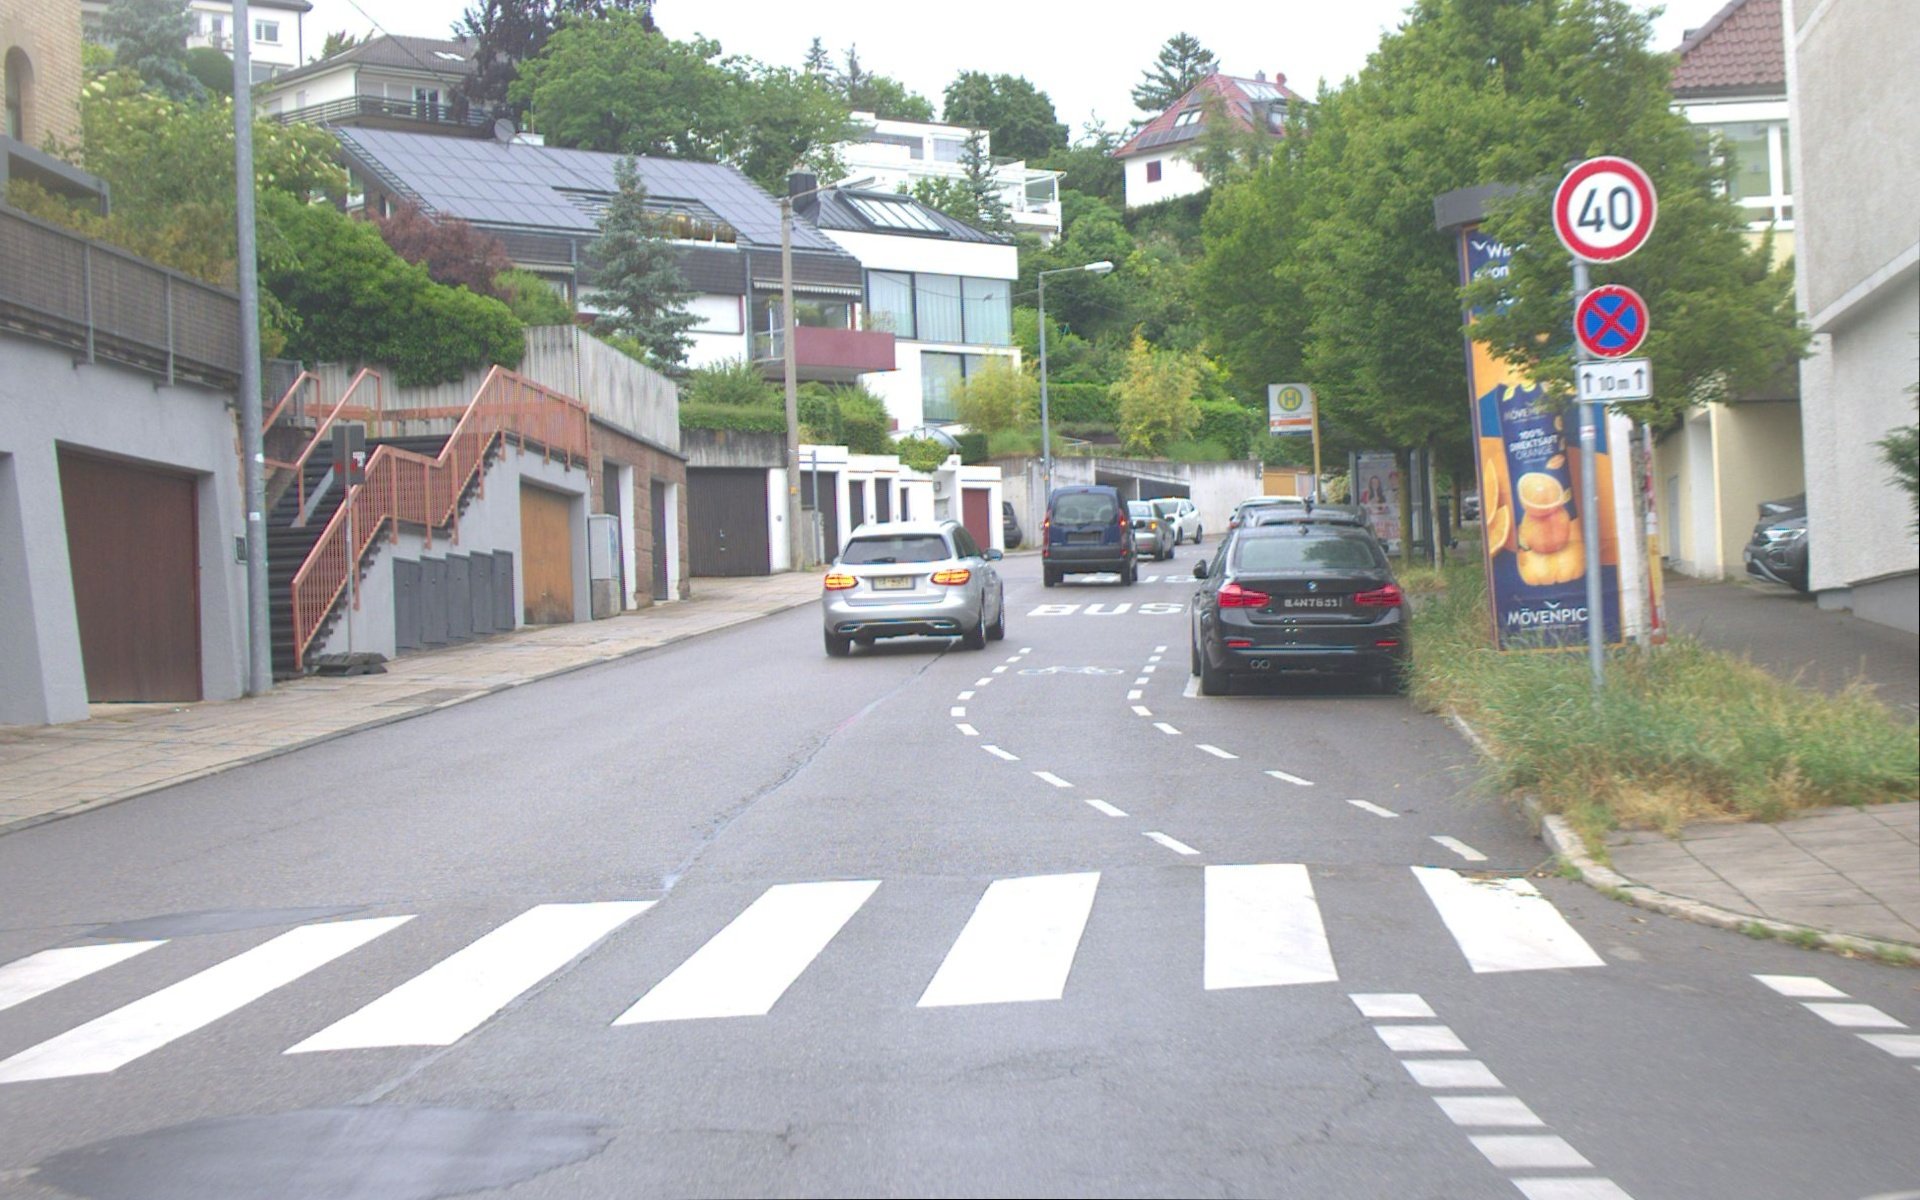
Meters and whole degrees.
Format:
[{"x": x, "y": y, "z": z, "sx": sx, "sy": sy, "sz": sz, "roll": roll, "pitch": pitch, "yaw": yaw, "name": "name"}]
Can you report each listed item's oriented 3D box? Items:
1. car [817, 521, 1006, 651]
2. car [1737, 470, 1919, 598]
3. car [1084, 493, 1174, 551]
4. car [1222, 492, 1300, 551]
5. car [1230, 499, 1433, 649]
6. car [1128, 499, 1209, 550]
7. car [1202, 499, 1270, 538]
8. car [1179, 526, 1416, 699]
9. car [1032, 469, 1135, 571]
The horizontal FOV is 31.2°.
[{"x": -0.504, "y": -0.194, "z": 39.339, "sx": 1.811, "sy": 1.356, "sz": 4.000, "roll": 1, "pitch": 2, "yaw": 4, "name": "car"}, {"x": 10.960, "y": -0.762, "z": 38.999, "sx": 3.991, "sy": 1.410, "sz": 1.723, "roll": -1, "pitch": 1, "yaw": 20, "name": "car"}, {"x": 3.997, "y": -1.858, "z": 81.035, "sx": 1.824, "sy": 1.292, "sz": 3.999, "roll": -1, "pitch": 2, "yaw": 7, "name": "car"}, {"x": 6.719, "y": -1.766, "z": 76.441, "sx": 1.469, "sy": 1.249, "sz": 3.581, "roll": -1, "pitch": 2, "yaw": 9, "name": "car"}, {"x": 3.819, "y": -0.307, "z": 35.876, "sx": 1.715, "sy": 1.445, "sz": 3.833, "roll": -1, "pitch": 2, "yaw": 1, "name": "car"}, {"x": 6.663, "y": -2.404, "z": 109.403, "sx": 1.729, "sy": 1.601, "sz": 3.546, "roll": 0, "pitch": 1, "yaw": 18, "name": "car"}, {"x": 9.732, "y": -2.877, "z": 120.954, "sx": 1.825, "sy": 1.292, "sz": 3.998, "roll": -1, "pitch": 2, "yaw": 13, "name": "car"}, {"x": 2.934, "y": 0.058, "z": 30.659, "sx": 1.771, "sy": 1.373, "sz": 4.349, "roll": -1, "pitch": 2, "yaw": 1, "name": "car"}, {"x": 2.320, "y": -1.504, "z": 64.144, "sx": 1.824, "sy": 1.813, "sz": 4.000, "roll": -1, "pitch": 2, "yaw": 3, "name": "car"}]
